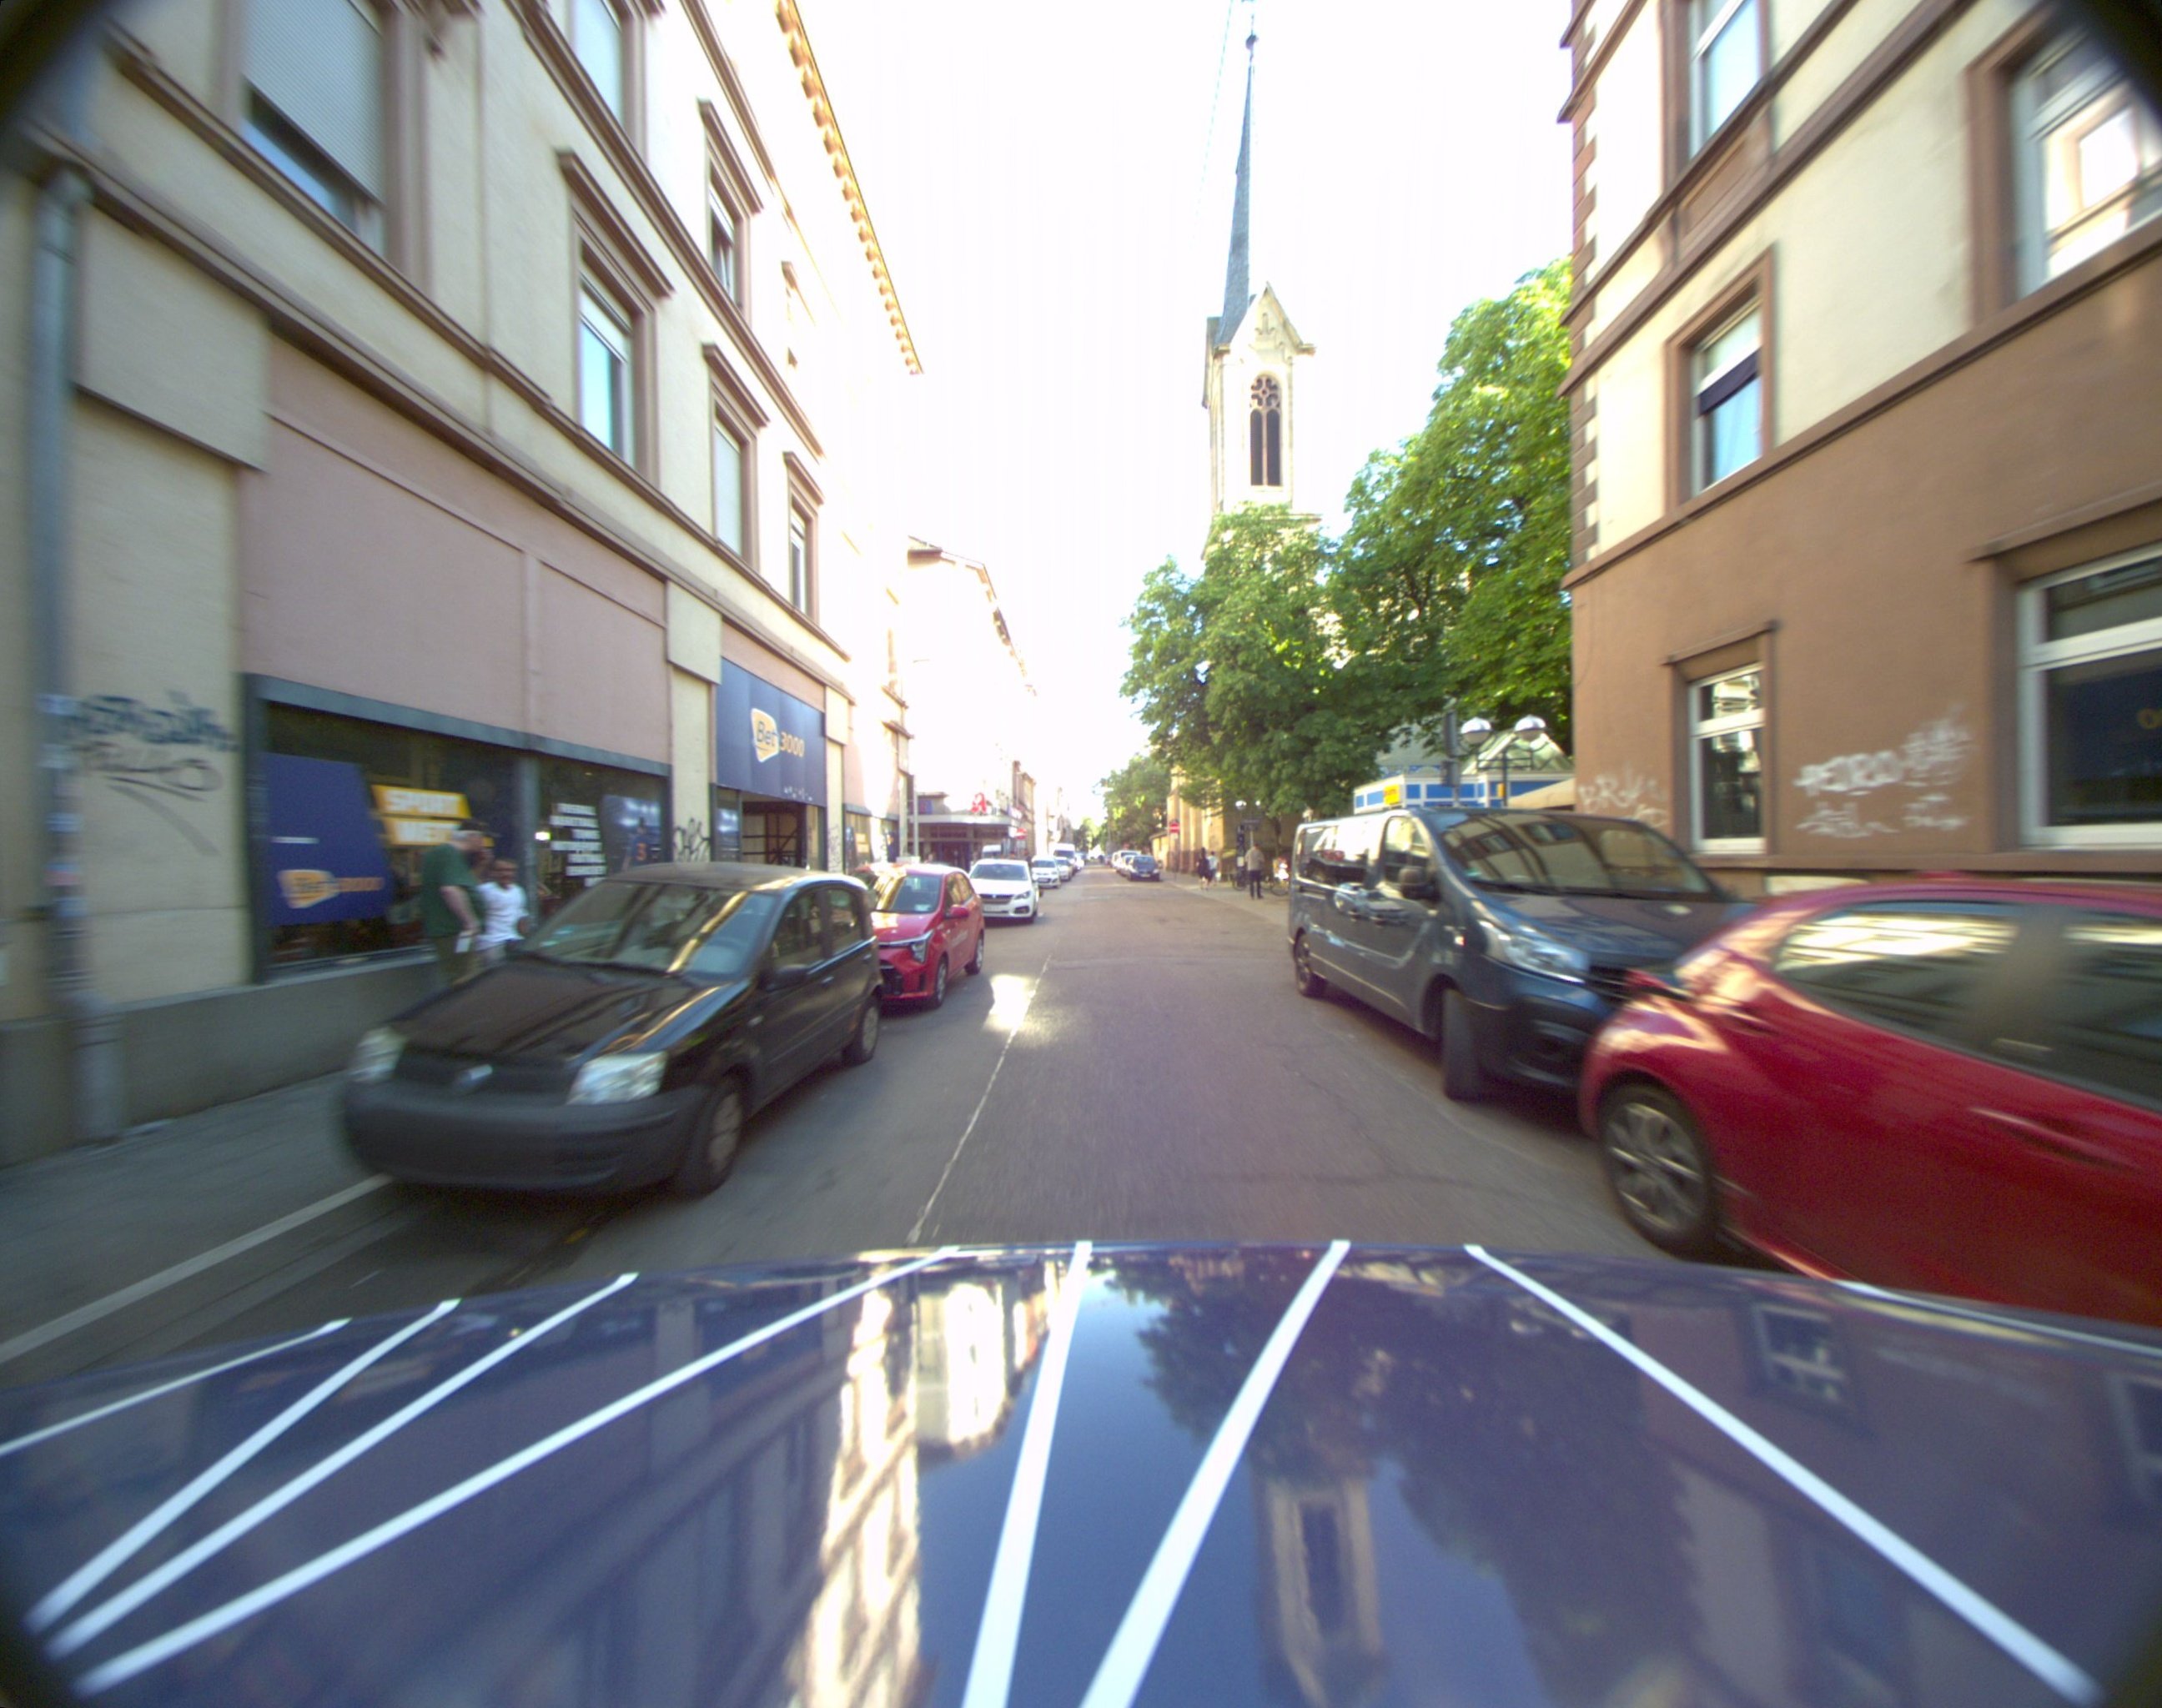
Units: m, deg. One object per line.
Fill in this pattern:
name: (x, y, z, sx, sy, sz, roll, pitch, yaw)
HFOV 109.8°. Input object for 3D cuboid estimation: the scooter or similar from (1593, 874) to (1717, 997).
scooter or similar: (6.413, 0.866, 8.557, 0.348, 1.209, 1.391, -2, 1, 1)

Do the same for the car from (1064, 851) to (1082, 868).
car: (-0.787, 0.568, 77.832, 1.696, 1.615, 3.963, -1, 0, 1)

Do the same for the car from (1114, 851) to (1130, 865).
car: (4.481, 0.406, 83.759, 1.696, 1.529, 3.813, -1, 0, 1)

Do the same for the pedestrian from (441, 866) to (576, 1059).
pedestrian: (-4.831, 0.881, 6.456, 0.589, 1.521, 0.658, -2, 1, -4)

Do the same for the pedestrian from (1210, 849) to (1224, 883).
pedestrian: (6.497, 0.561, 36.342, 0.480, 1.584, 0.714, -2, 1, -2)

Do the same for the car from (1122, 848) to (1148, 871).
car: (3.997, 0.381, 56.512, 1.724, 1.558, 4.000, -2, 1, 2)

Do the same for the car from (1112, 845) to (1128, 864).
car: (4.560, 0.048, 89.137, 1.777, 2.128, 4.022, -1, 0, 1)

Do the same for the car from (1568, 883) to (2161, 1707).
car: (3.021, 0.956, 1.389, 1.755, 1.513, 3.868, 2, 1, 1)

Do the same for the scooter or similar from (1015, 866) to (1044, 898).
scooter or similar: (-1.979, 1.081, 29.464, 1.057, 1.153, 0.514, -2, 1, 0)

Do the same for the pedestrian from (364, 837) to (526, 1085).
pedestrian: (-4.742, 0.748, 5.717, 0.630, 1.730, 0.658, -2, 1, -12)

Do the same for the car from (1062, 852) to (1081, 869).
car: (-0.895, 0.611, 72.742, 1.696, 1.615, 3.813, -1, 0, 1)

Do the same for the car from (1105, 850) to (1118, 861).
car: (4.485, 0.209, 113.124, 1.777, 1.614, 4.022, -1, 0, 0)

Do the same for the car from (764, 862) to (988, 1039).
car: (-2.180, 0.947, 9.048, 1.610, 1.563, 3.553, -2, 1, 1)

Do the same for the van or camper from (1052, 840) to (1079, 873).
van or camper: (-1.248, 0.168, 63.772, 1.998, 2.617, 5.978, -2, 1, 1)

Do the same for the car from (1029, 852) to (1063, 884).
car: (-1.918, 0.739, 42.653, 1.704, 1.641, 4.063, -2, 1, 0)

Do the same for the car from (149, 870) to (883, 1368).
car: (-2.446, 0.962, 4.323, 1.573, 1.548, 3.314, 2, 1, 3)

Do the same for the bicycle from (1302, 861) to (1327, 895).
bicycle: (7.389, 0.752, 24.086, 0.293, 1.040, 1.579, -2, 0, 1)

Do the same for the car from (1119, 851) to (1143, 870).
car: (4.039, 0.499, 61.718, 1.696, 1.472, 3.736, -1, 0, 1)

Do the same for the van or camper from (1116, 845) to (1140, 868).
van or camper: (4.168, 0.192, 67.745, 1.984, 1.940, 4.563, -1, 0, 1)

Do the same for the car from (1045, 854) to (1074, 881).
car: (-1.292, 0.833, 47.626, 1.558, 1.518, 4.200, -2, 1, 1)

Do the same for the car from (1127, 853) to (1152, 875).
car: (4.001, 0.673, 52.256, 1.576, 1.356, 4.146, -2, 1, 2)

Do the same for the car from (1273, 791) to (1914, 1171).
car: (3.236, 0.645, 6.471, 2.025, 1.868, 5.297, -2, 0, 2)

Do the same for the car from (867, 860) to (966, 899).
car: (-6.664, 1.007, 31.044, 3.582, 1.477, 1.789, -1, 1, 1)

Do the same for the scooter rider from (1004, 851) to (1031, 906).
scooter rider: (-2.088, 0.798, 24.977, 0.609, 1.768, 0.566, 0, 2, 41)

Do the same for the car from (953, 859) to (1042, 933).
car: (-1.957, 0.945, 18.889, 1.791, 1.507, 4.135, -2, 1, -1)

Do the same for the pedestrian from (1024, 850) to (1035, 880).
pedestrian: (-3.310, 0.686, 48.827, 0.563, 1.883, 0.530, -2, 1, 0)

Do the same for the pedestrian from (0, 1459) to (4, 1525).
pedestrian: (-3.117, 0.943, 1.675, 0.442, 1.695, 0.654, -2, 1, 1)

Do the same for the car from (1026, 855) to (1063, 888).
car: (-1.783, 0.841, 37.703, 1.694, 1.454, 3.639, -2, 1, -2)

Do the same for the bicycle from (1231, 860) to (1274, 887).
bicycle: (7.179, 0.823, 31.740, 1.694, 1.059, 0.346, -2, 1, -1)

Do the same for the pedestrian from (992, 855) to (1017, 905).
pedestrian: (-2.549, 0.850, 25.223, 0.566, 1.629, 0.527, -3, 2, -45)

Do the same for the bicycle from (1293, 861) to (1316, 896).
bicycle: (7.074, 0.752, 24.089, 0.293, 1.076, 1.579, -2, 0, 1)

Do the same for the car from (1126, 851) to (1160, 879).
car: (3.739, 0.661, 46.336, 1.798, 1.543, 3.833, -2, 1, 1)

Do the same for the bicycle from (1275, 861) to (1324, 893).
bicycle: (7.454, 0.788, 25.981, 1.576, 1.076, 0.347, -1, 1, 12)

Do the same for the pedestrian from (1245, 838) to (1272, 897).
pedestrian: (5.670, 0.420, 24.311, 0.648, 1.823, 0.697, -3, 1, 1)

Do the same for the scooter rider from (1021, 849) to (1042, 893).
scooter rider: (-1.895, 0.645, 29.261, 0.689, 1.638, 0.720, -2, 1, 0)

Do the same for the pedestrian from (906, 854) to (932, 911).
pedestrian: (-4.743, 0.842, 22.223, 0.599, 1.640, 0.466, -1, -1, 32)

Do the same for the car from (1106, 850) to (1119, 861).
car: (4.845, 0.169, 117.774, 1.777, 1.614, 4.022, -1, 0, 0)

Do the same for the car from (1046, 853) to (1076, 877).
car: (-1.504, 0.809, 57.923, 1.998, 1.637, 4.563, -2, 1, 1)

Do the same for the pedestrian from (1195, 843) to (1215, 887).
pedestrian: (5.303, 0.455, 32.468, 0.718, 1.863, 0.720, -2, 1, 1)
